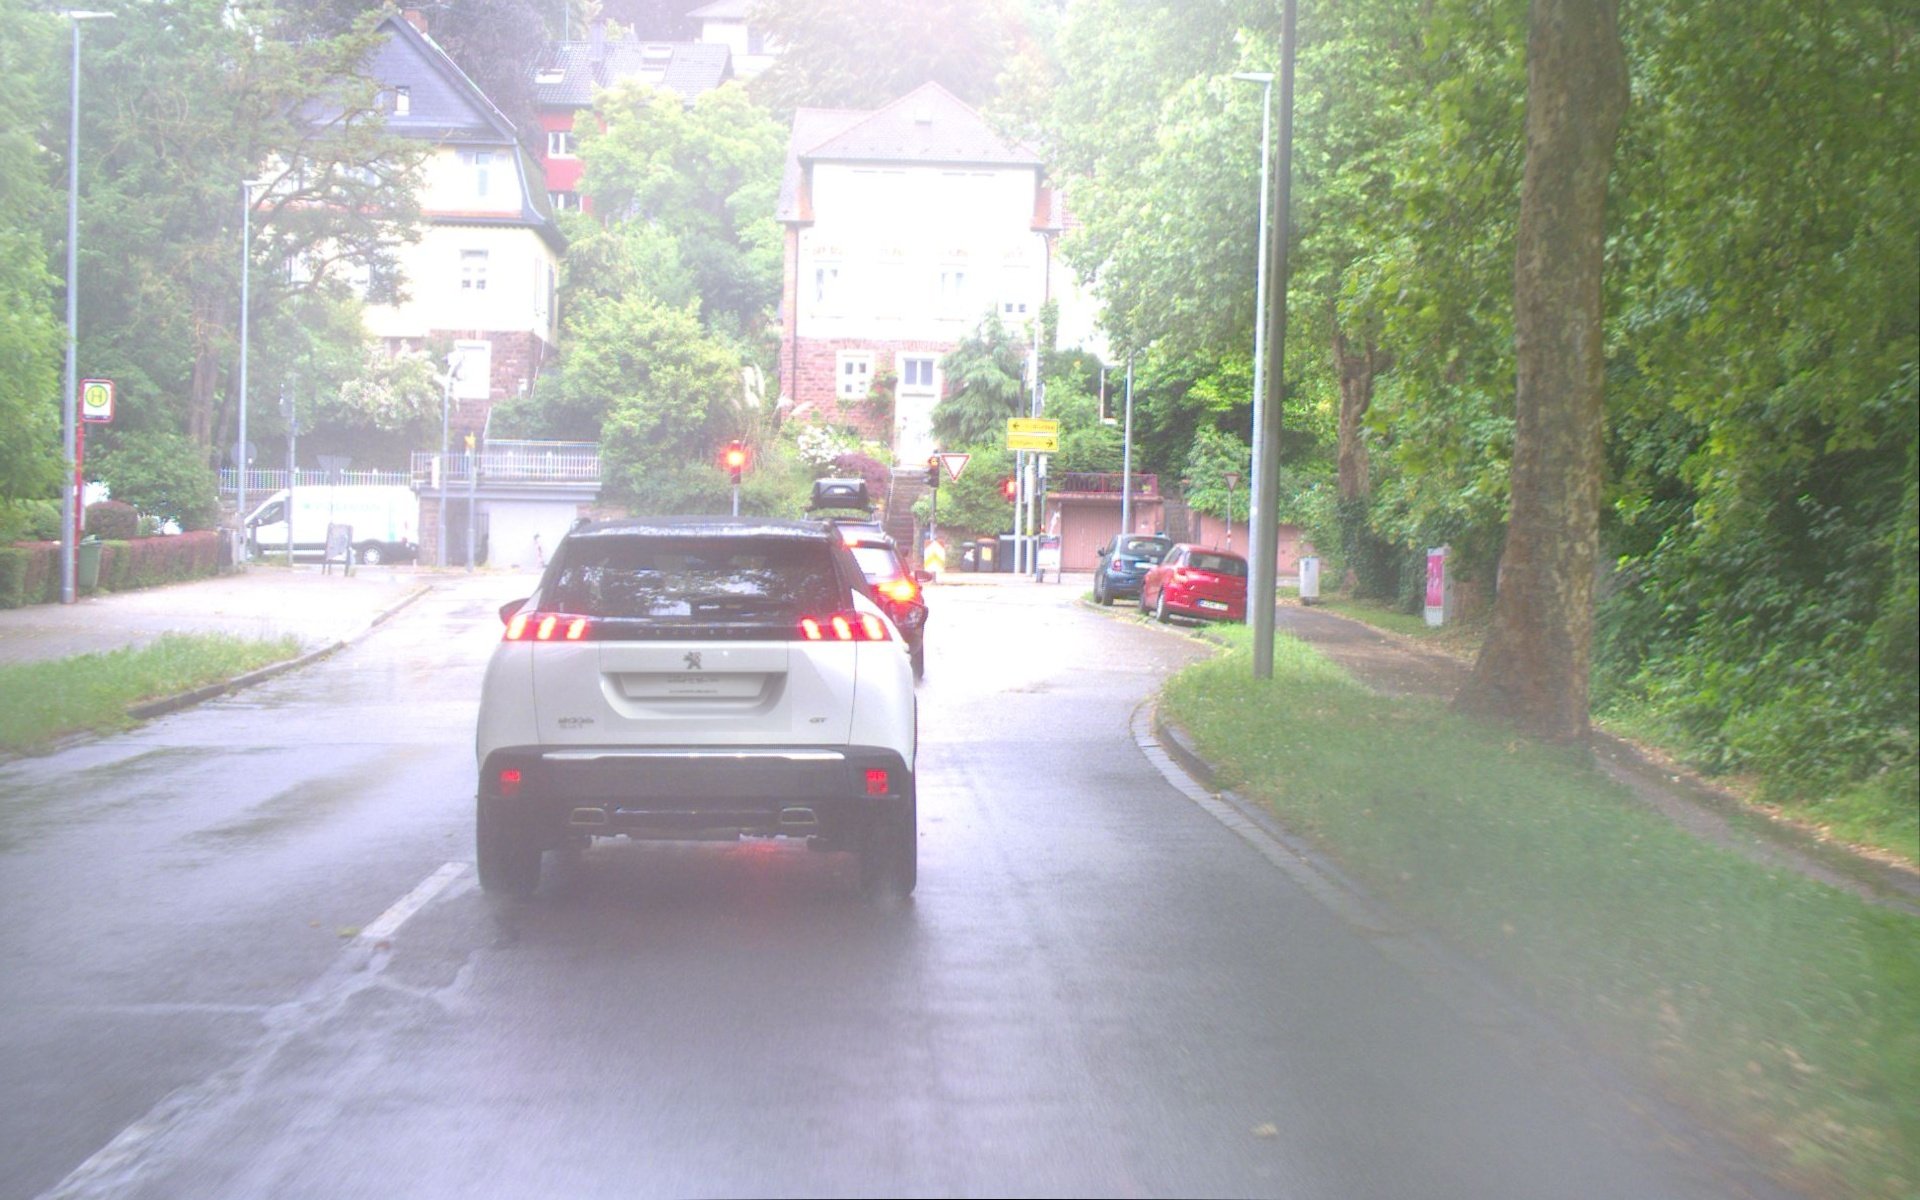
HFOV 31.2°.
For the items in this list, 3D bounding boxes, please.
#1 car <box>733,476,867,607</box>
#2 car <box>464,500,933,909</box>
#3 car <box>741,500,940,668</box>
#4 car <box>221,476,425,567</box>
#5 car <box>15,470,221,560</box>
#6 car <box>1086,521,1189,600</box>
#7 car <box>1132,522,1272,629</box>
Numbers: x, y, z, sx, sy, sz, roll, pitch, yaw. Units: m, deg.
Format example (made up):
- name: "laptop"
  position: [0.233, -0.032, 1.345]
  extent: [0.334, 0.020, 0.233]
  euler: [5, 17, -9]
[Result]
- name: "car"
  position: [-2.325, -0.880, 49.371]
  extent: [1.760, 1.705, 4.602]
  euler: [3, 2, -3]
- name: "car"
  position: [-1.053, 0.342, 15.117]
  extent: [1.752, 1.530, 4.368]
  euler: [0, 1, -2]
- name: "car"
  position: [-1.213, -0.218, 35.605]
  extent: [1.831, 1.451, 4.659]
  euler: [4, 2, -1]
- name: "car"
  position: [-19.222, -2.359, 103.904]
  extent: [5.660, 2.485, 2.316]
  euler: [2, 0, 0]
- name: "car"
  position: [-25.445, -2.560, 104.018]
  extent: [5.562, 2.485, 2.316]
  euler: [2, 0, 0]
- name: "car"
  position: [3.680, -0.845, 71.786]
  extent: [1.749, 1.486, 3.600]
  euler: [4, 1, -2]
- name: "car"
  position: [4.338, -0.470, 62.182]
  extent: [1.819, 1.512, 3.744]
  euler: [8, 2, -4]
